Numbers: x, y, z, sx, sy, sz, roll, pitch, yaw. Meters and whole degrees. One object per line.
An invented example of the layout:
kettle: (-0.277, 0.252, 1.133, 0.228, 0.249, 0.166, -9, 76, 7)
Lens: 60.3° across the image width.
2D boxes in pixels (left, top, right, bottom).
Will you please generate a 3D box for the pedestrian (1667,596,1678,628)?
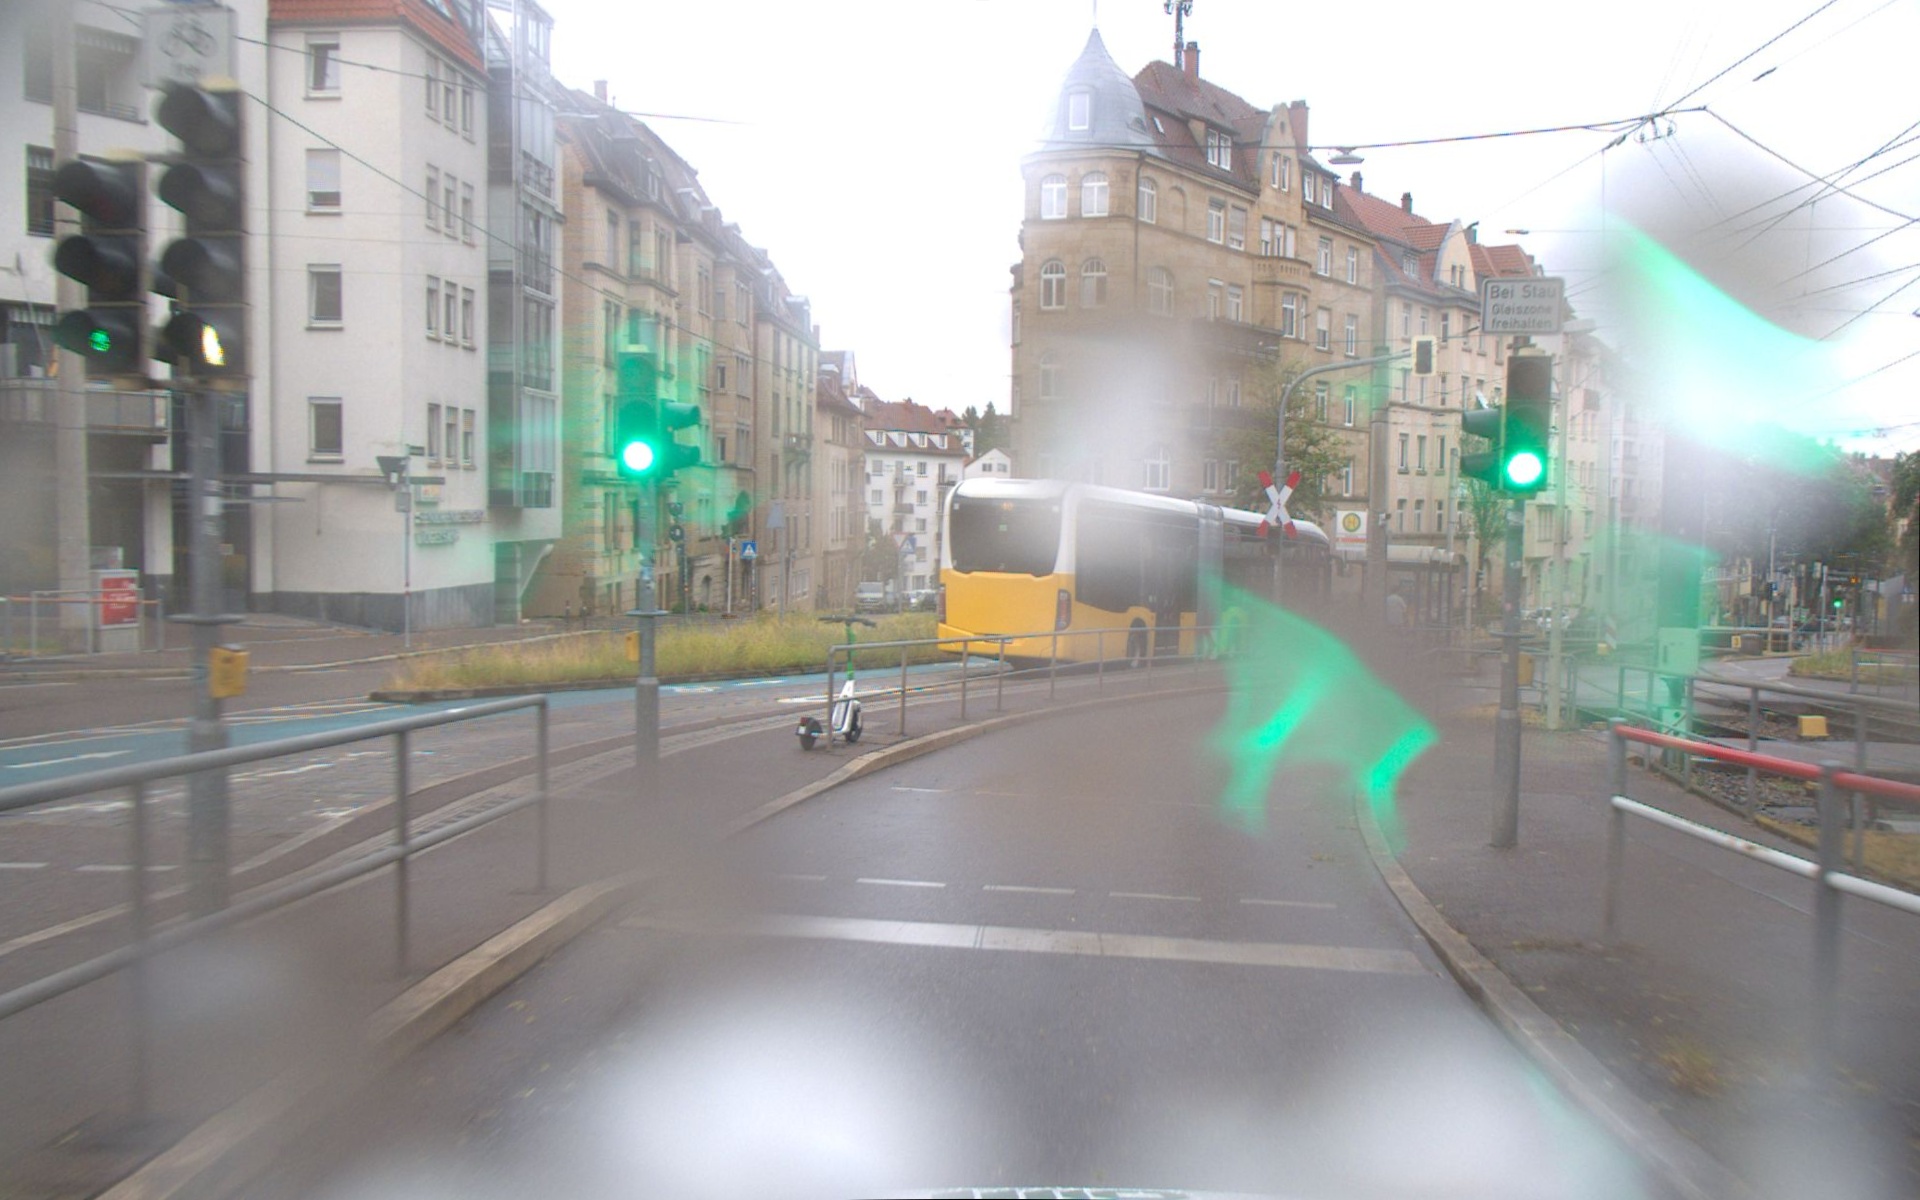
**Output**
pedestrian: (41.821, 0.703, 97.079, 0.507, 1.870, 0.759, 0, -2, 35)

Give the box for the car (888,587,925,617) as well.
car: (-4.049, 0.168, 126.637, 2.092, 2.174, 4.860, 1, -1, 6)

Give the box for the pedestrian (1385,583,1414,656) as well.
pedestrian: (10.895, 0.484, 41.016, 0.564, 1.783, 0.543, 1, -1, 24)

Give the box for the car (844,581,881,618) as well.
car: (-6.142, -0.026, 103.984, 2.096, 2.174, 4.851, 2, -1, -5)

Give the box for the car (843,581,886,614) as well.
car: (-6.570, -0.146, 114.755, 2.092, 2.174, 4.860, 1, -1, 7)

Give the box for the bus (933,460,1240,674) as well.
bus: (2.761, -0.498, 31.876, 2.540, 3.530, 9.096, 1, 0, 27)

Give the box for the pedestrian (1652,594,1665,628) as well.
pedestrian: (39.246, 0.622, 92.947, 0.551, 1.882, 0.596, 0, -2, 35)

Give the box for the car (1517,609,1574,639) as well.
car: (33.894, 1.393, 95.606, 1.891, 1.651, 4.517, 0, -1, 36)

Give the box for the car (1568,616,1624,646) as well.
car: (39.515, 1.939, 102.747, 1.961, 1.762, 4.792, 0, -2, 37)

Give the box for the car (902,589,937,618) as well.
car: (-3.231, 0.300, 133.016, 2.092, 2.174, 4.860, 1, -1, 6)

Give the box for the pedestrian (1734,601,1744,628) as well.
pedestrian: (51.778, 0.992, 109.899, 0.540, 1.772, 0.612, 0, -2, 35)

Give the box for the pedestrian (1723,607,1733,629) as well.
pedestrian: (50.685, 1.181, 109.144, 0.540, 1.438, 0.612, 0, -2, 35)

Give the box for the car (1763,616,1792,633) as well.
car: (79.017, 2.313, 159.837, 1.697, 1.542, 4.478, 1, 1, 36)

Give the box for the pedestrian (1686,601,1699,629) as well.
pedestrian: (45.228, 0.932, 102.082, 0.584, 1.695, 0.759, 0, -2, 35)

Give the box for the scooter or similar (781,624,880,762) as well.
scooter or similar: (-1.146, 0.805, 14.904, 0.424, 1.133, 1.606, 2, 0, 11)

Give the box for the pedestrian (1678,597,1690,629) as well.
pedestrian: (43.789, 0.786, 100.007, 0.507, 1.870, 0.759, 0, -2, 35)

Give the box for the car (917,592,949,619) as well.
car: (-2.261, 0.502, 141.131, 2.092, 2.174, 4.860, 1, -1, 6)
